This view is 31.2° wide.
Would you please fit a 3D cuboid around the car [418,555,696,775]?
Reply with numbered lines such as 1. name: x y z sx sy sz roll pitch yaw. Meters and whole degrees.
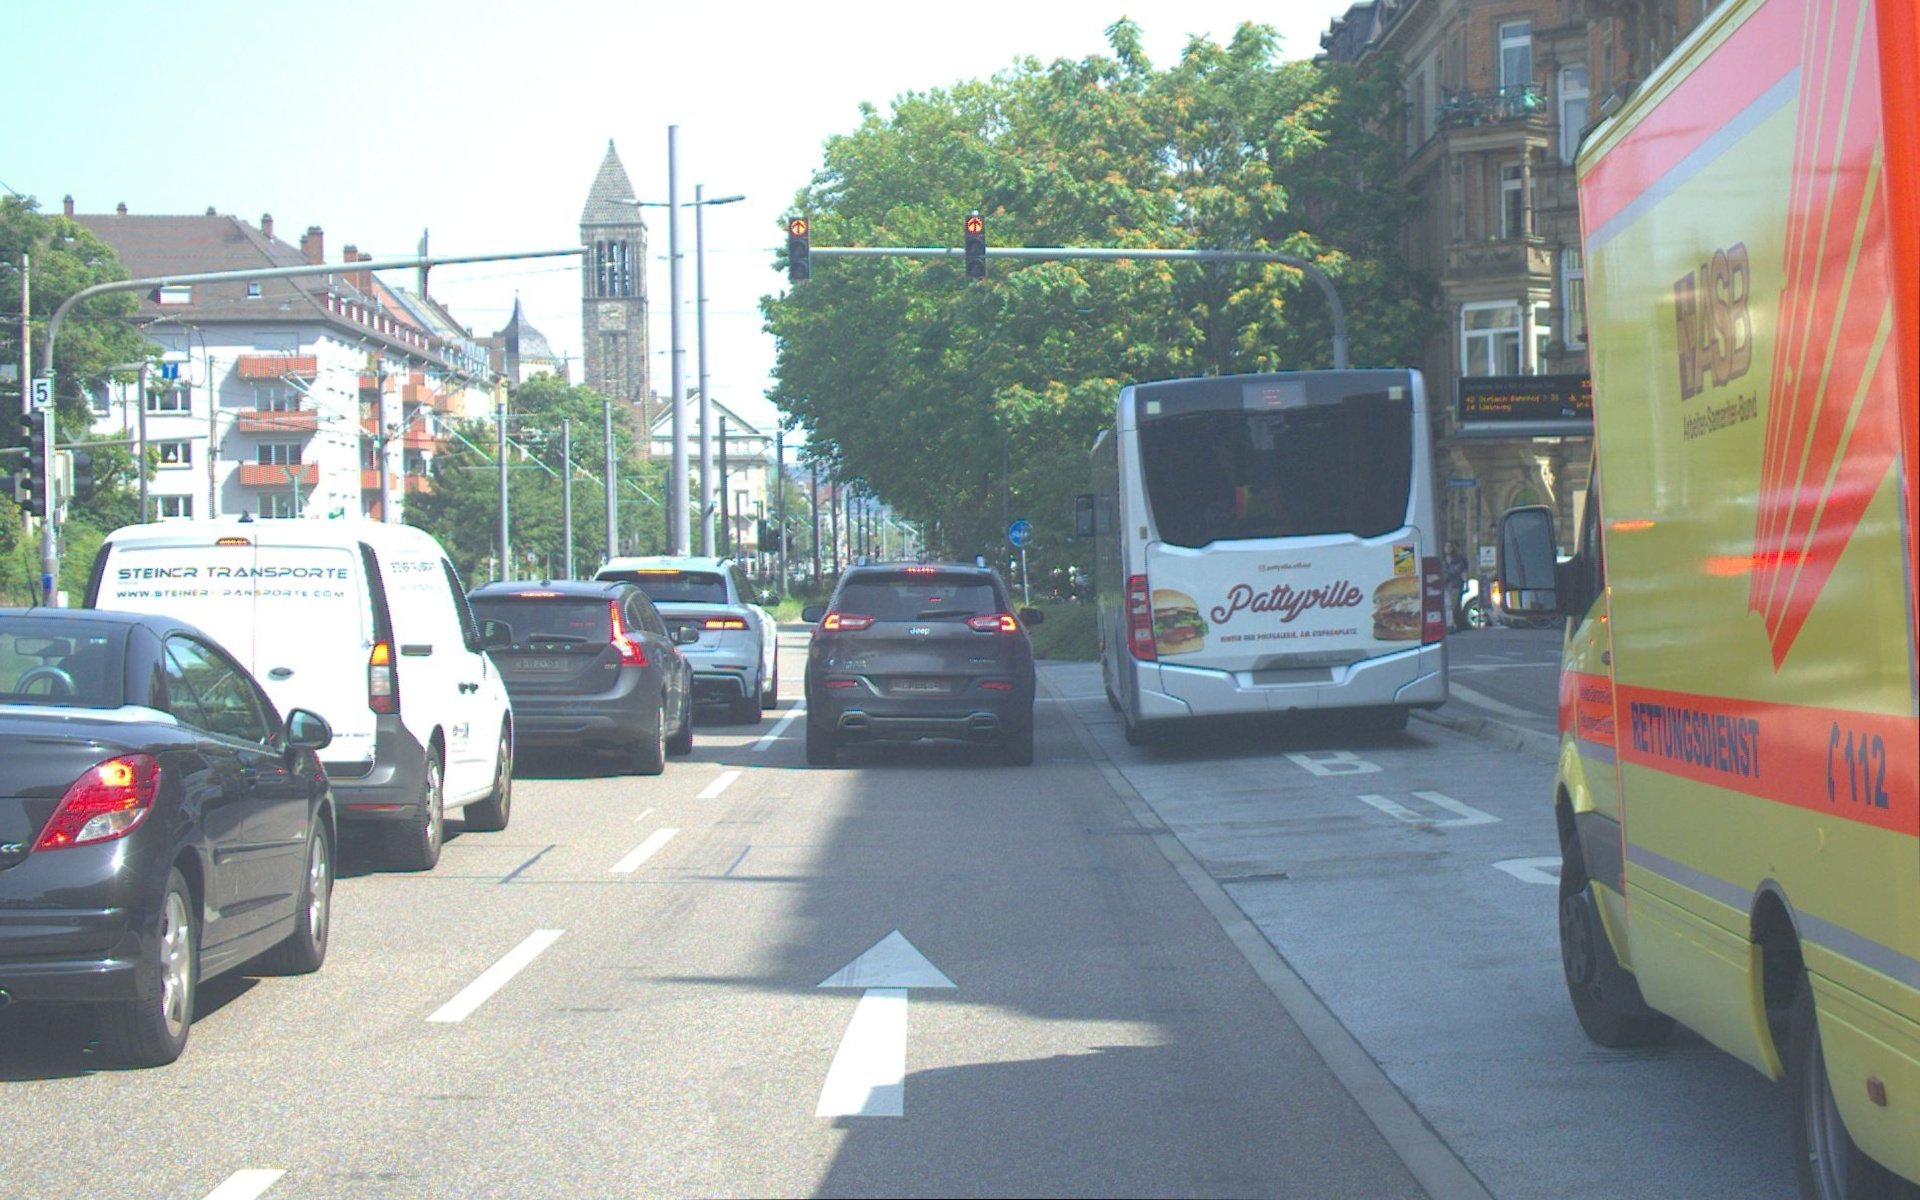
1. car: -3.123 0.451 27.377 1.747 1.609 4.308 0 1 -1

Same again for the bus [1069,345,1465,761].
1. bus: 2.586 -0.421 32.865 2.743 3.096 11.955 -3 0 1

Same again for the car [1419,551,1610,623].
1. car: 12.587 -0.301 78.152 3.931 1.515 1.683 -1 1 -8

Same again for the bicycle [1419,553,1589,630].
1. bicycle: 10.201 -0.161 64.568 3.003 1.368 0.947 -1 1 -1

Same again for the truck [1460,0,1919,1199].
1. truck: 2.794 -0.053 8.541 2.328 2.760 6.337 -3 0 3

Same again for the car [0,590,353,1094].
1. car: -3.219 0.687 11.717 1.688 1.409 3.802 0 1 -1

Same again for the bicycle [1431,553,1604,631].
1. bicycle: 10.302 -0.153 63.558 3.003 1.368 0.947 -1 1 -1

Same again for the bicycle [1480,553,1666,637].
1. bicycle: 10.467 -0.091 58.754 2.993 1.366 0.871 -1 0 -1

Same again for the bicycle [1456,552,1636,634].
1. bicycle: 10.308 -0.125 60.572 2.993 1.366 0.871 -1 0 -1

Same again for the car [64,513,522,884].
1. car: -3.534 0.460 18.954 1.747 1.814 4.239 0 1 -1

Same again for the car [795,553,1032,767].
1. car: -0.345 0.440 28.834 1.832 1.646 4.308 0 1 0

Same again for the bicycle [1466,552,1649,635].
1. bicycle: 10.361 -0.116 59.659 2.993 1.366 0.871 -1 0 -1

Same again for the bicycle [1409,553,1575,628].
1. bicycle: 10.191 -0.186 65.885 3.003 1.368 0.947 -1 1 -1

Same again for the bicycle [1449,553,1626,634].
1. bicycle: 10.319 -0.121 61.520 2.993 1.366 0.871 -1 0 -1

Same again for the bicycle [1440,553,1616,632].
1. bicycle: 10.305 -0.140 62.463 3.003 1.368 0.947 -1 1 -1

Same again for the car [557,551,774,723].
1. car: -2.950 0.324 35.223 1.902 1.646 4.308 0 1 -1
